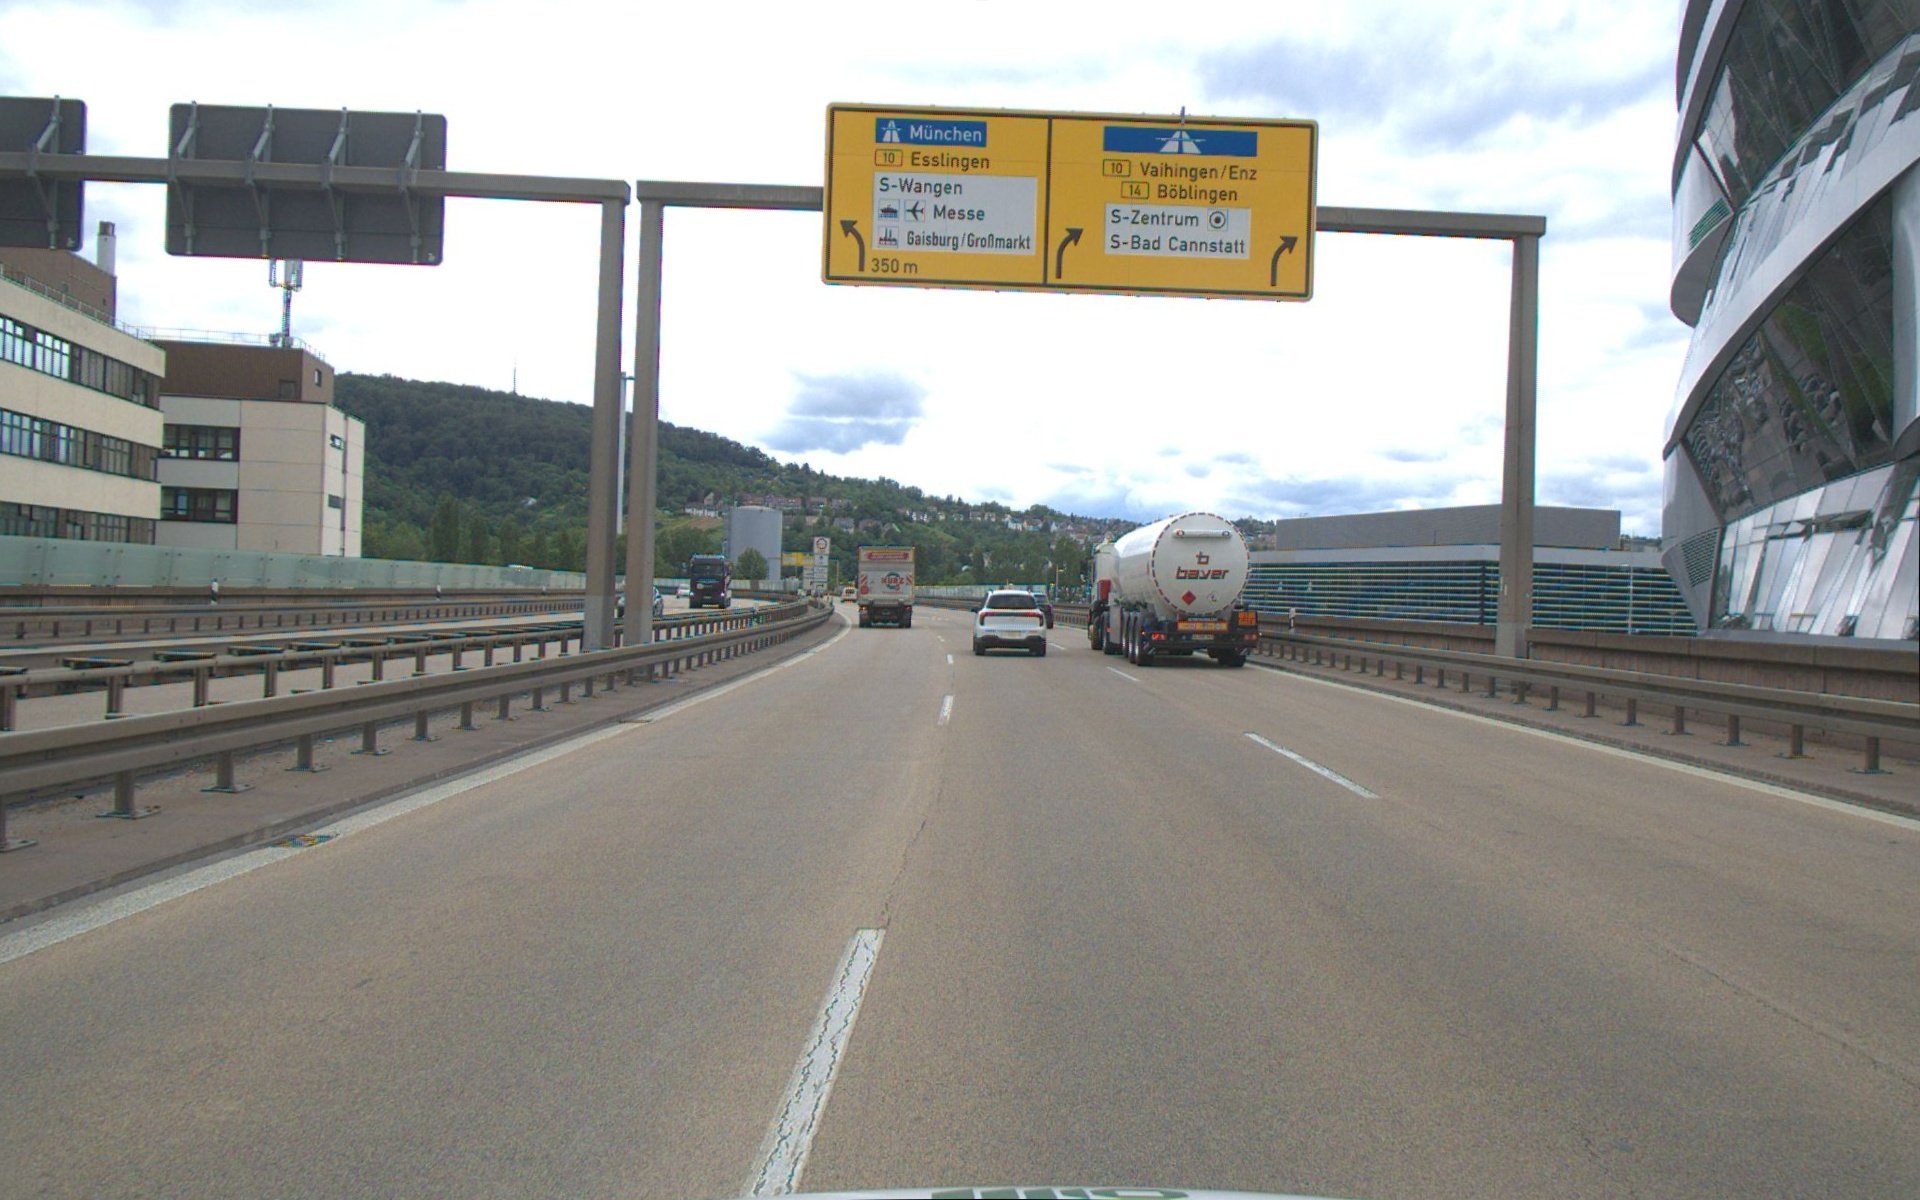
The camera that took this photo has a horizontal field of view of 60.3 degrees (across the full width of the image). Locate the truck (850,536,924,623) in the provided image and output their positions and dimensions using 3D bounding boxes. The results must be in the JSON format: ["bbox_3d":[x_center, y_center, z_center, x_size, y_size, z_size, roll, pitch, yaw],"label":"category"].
[{"bbox_3d":[-3.299,-0.871,76.541,2.994,3.755,8.303,1,0,0],"label":"truck"}]

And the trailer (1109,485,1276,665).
[{"bbox_3d":[5.403,-0.513,39.901,2.994,3.856,8.304,1,0,1],"label":"trailer"}]

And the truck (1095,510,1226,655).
[{"bbox_3d":[5.461,-0.426,46.006,2.952,3.721,6.273,1,-1,1],"label":"truck"}]

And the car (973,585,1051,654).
[{"bbox_3d":[1.347,0.513,43.863,1.952,1.704,4.408,1,0,1],"label":"car"}]

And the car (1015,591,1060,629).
[{"bbox_3d":[3.588,0.463,77.619,1.952,1.704,4.408,1,0,1],"label":"car"}]

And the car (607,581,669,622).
[{"bbox_3d":[-14.081,0.086,72.647,1.953,1.704,4.406,1,0,-2],"label":"car"}]

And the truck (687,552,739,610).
[{"bbox_3d":[-17.502,-1.283,117.662,2.755,3.876,12.008,1,0,-4],"label":"truck"}]

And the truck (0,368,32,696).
[{"bbox_3d":[-12.893,-0.843,13.709,2.993,3.842,12.520,1,0,2],"label":"truck"}]
